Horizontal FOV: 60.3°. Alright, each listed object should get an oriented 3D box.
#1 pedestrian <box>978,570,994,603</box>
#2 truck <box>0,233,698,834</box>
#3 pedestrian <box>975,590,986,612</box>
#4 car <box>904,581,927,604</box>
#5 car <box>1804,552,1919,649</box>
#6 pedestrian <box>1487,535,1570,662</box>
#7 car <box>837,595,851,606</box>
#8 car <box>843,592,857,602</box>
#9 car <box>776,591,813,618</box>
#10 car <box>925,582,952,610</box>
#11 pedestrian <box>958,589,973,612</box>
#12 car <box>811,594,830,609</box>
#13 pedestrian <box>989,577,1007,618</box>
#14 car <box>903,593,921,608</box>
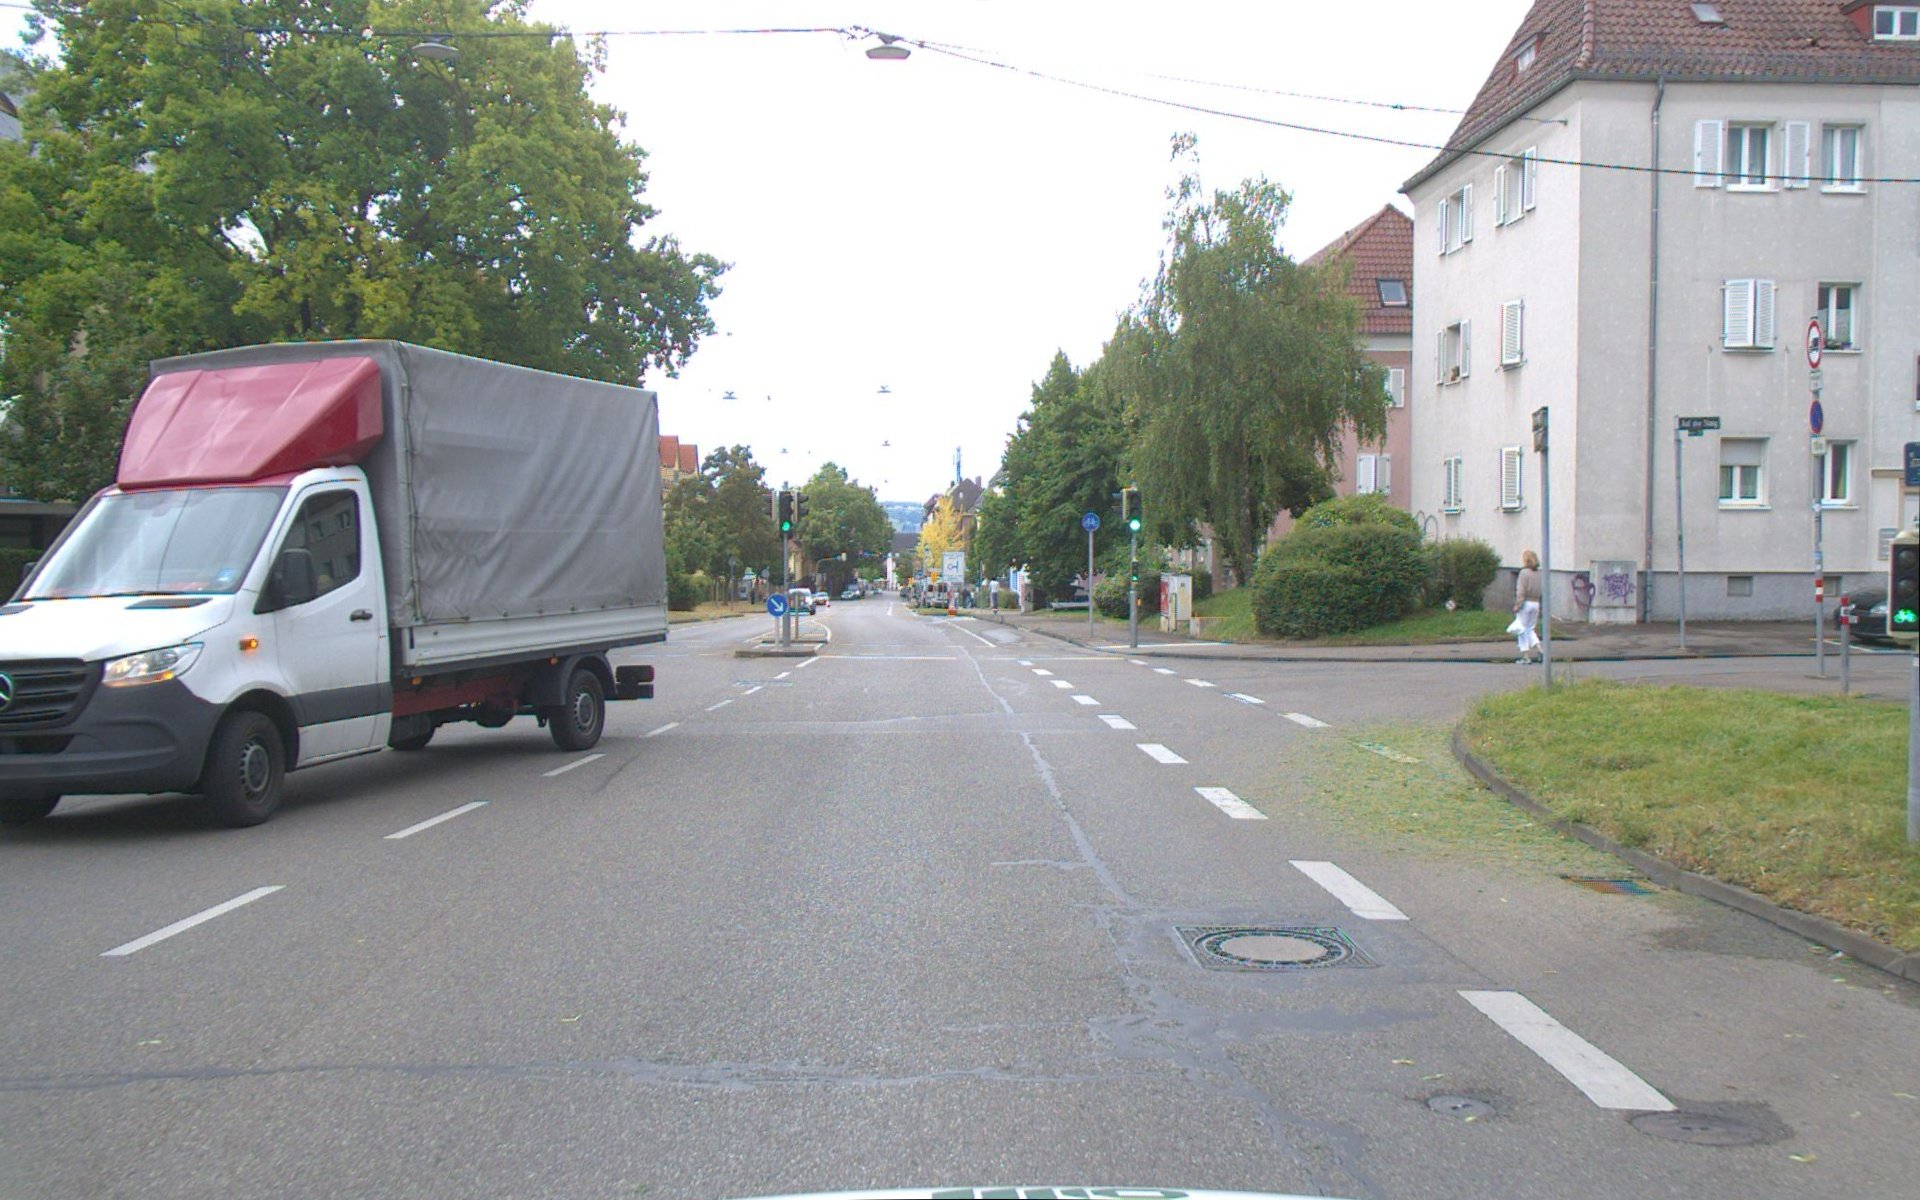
[{"bbox_3d":[1.738,-0.894,111.928,0.970,2.246,0.937,0,0,-4],"label":"pedestrian"},{"bbox_3d":[-4.796,-0.400,13.087,2.478,3.365,7.255,0,0,17],"label":"truck"},{"bbox_3d":[1.669,0.079,135.838,0.903,1.842,1.101,0,0,-1],"label":"pedestrian"},{"bbox_3d":[-4.230,-0.702,156.047,1.955,2.210,3.996,1,0,-5],"label":"car"},{"bbox_3d":[16.633,0.015,27.766,3.904,1.563,2.000,1,0,1],"label":"car"},{"bbox_3d":[8.791,-0.026,25.583,0.736,1.887,0.950,-3,1,-16],"label":"pedestrian"},{"bbox_3d":[-16.446,0.086,234.802,1.954,1.532,3.998,1,0,-3],"label":"car"},{"bbox_3d":[-16.184,-0.440,242.601,1.954,1.532,3.998,1,0,-3],"label":"car"},{"bbox_3d":[-9.485,0.263,95.027,1.954,1.532,3.998,1,0,-3],"label":"car"},{"bbox_3d":[-1.596,-0.278,122.934,1.953,2.049,3.999,0,0,-1],"label":"car"},{"bbox_3d":[0.429,0.021,135.750,1.176,1.842,1.301,0,0,-1],"label":"pedestrian"},{"bbox_3d":[-15.176,0.142,179.776,1.954,1.532,3.998,1,0,-3],"label":"car"},{"bbox_3d":[2.086,-0.148,90.522,0.969,2.246,0.938,0,0,1],"label":"pedestrian"},{"bbox_3d":[-5.616,0.070,192.283,1.954,1.685,3.996,1,0,-5],"label":"car"}]
